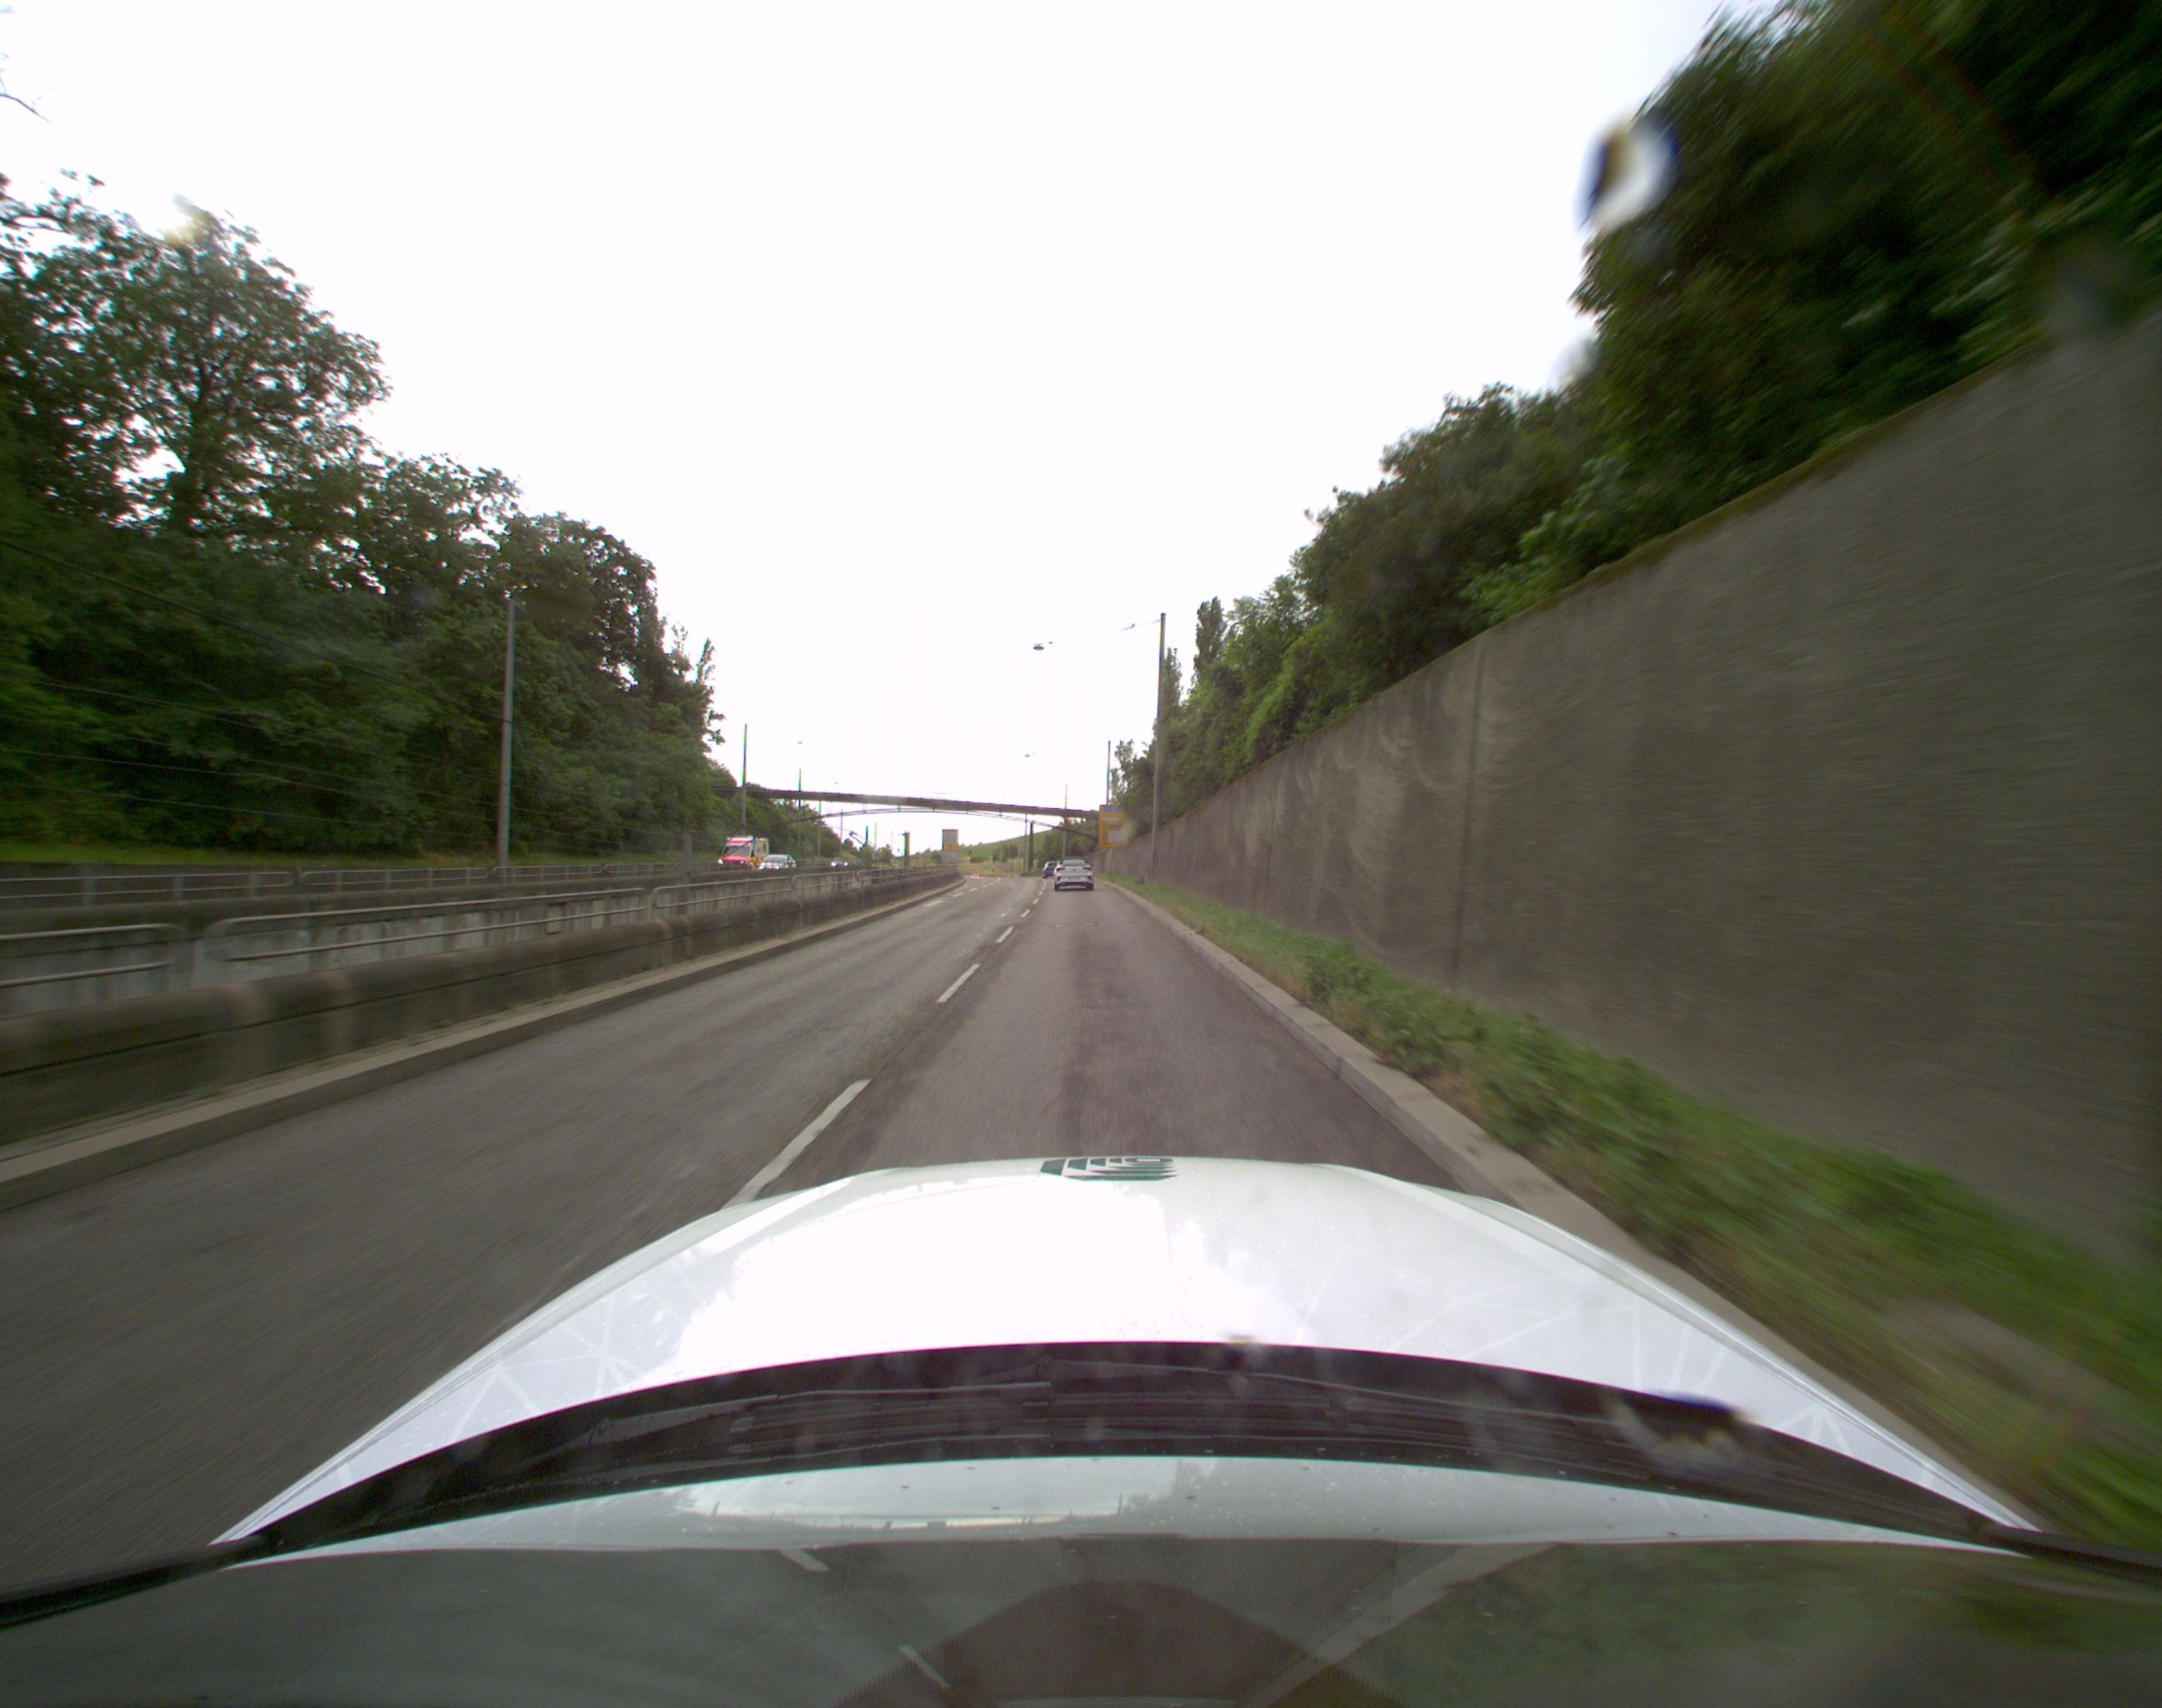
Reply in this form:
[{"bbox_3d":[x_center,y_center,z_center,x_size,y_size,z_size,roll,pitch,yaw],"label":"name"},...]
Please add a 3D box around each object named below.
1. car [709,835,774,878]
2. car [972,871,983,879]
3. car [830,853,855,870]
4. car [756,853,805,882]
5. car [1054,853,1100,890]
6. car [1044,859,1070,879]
[{"bbox_3d":[-23.397,0.184,56.452,2.178,2.734,6.336,-1,-1,-4],"label":"car"},{"bbox_3d":[-21.347,4.424,168.214,1.768,1.519,3.724,3,-3,1],"label":"car"},{"bbox_3d":[-25.675,0.802,87.861,1.960,1.750,4.129,-1,-1,-9],"label":"car"},{"bbox_3d":[-19.331,0.852,52.475,1.814,1.704,4.105,-1,-1,-4],"label":"car"},{"bbox_3d":[-0.236,0.774,37.973,1.991,1.578,4.122,-1,0,-2],"label":"car"},{"bbox_3d":[-2.043,1.315,70.874,1.919,1.599,4.063,-1,0,2],"label":"car"}]
